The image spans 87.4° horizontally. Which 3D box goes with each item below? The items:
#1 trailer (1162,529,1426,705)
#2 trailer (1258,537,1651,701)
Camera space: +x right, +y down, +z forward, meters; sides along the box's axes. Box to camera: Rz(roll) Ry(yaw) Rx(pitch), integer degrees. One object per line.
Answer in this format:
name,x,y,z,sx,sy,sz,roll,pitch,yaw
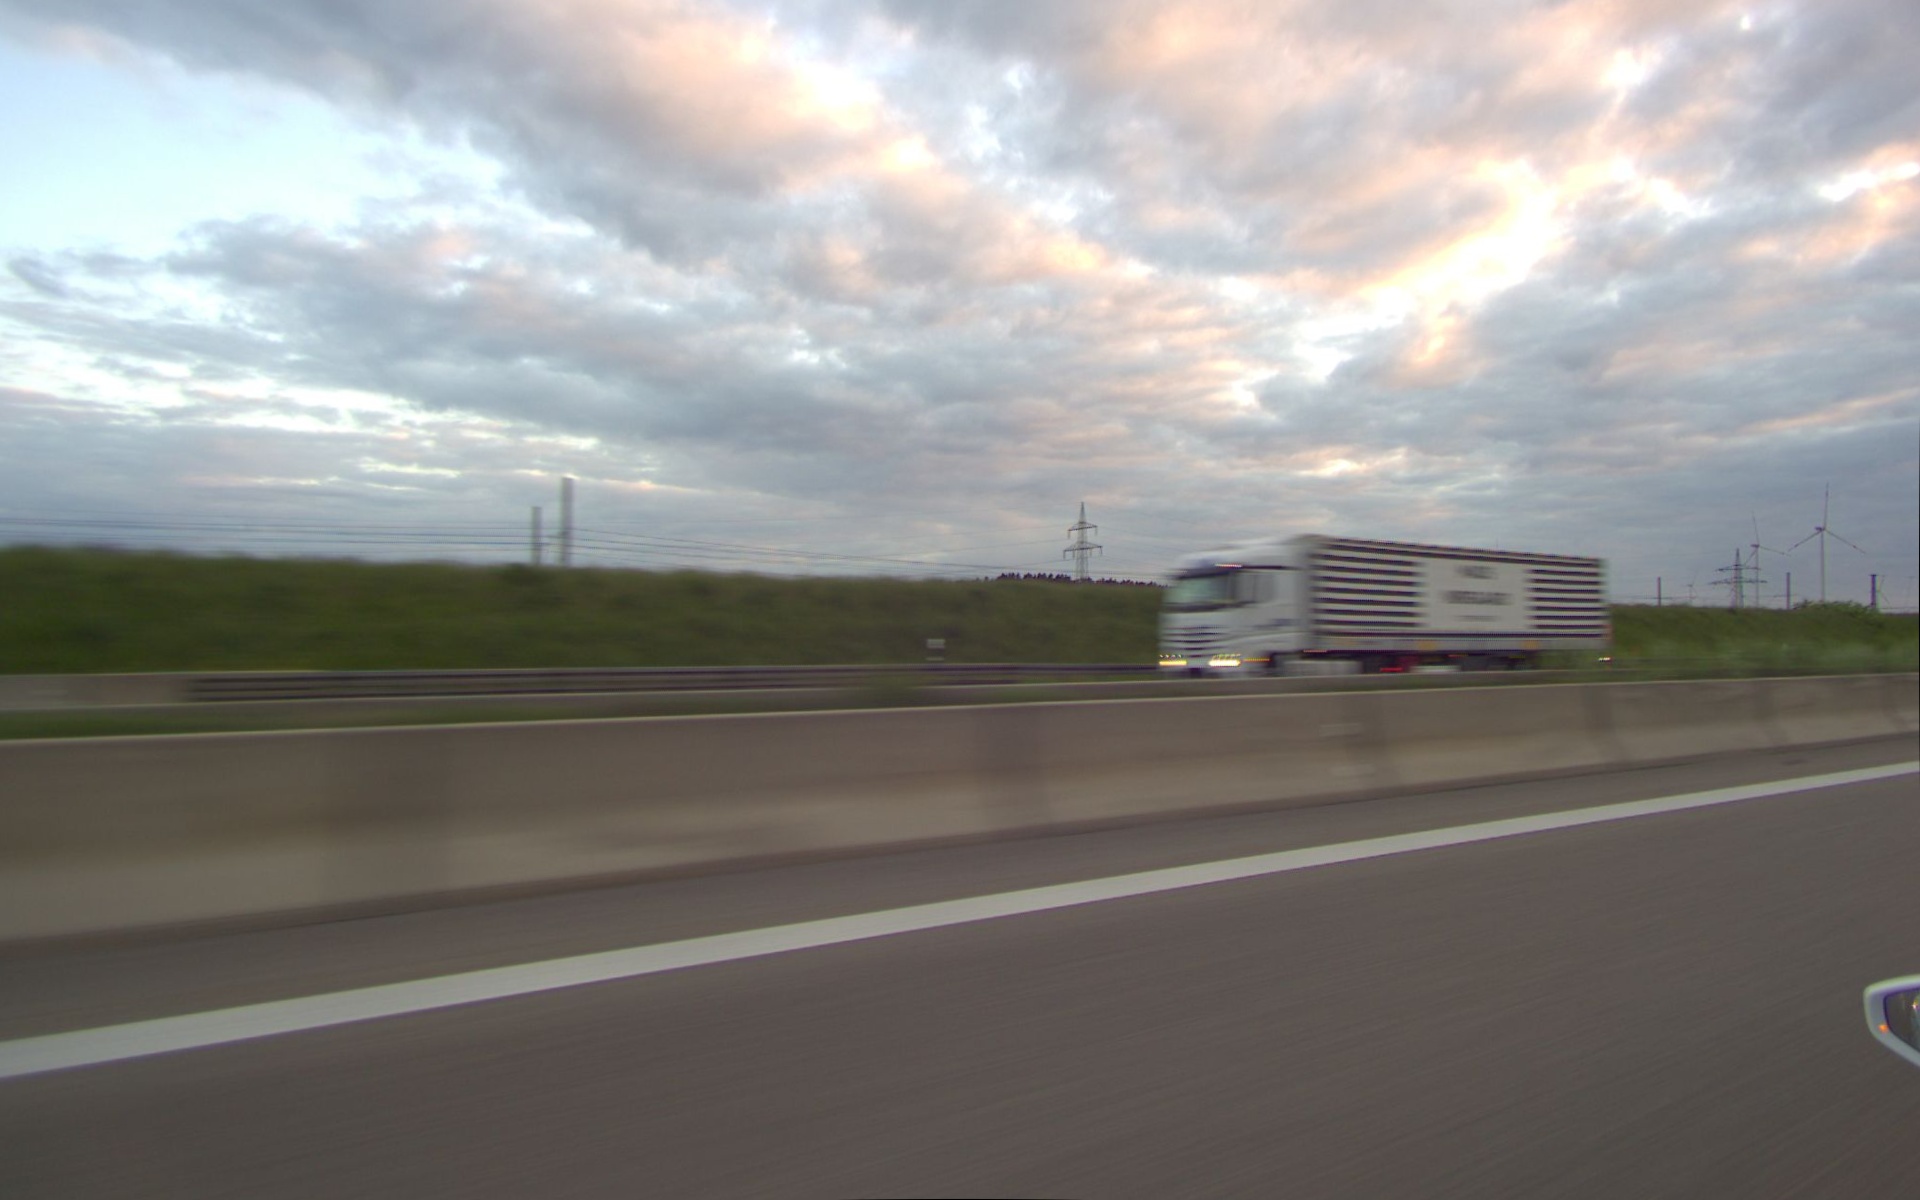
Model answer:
trailer,8.890,0.552,26.589,6.854,4.168,2.676,2,-4,-29
trailer,15.403,0.735,30.327,14.928,4.168,2.675,2,-4,-30
